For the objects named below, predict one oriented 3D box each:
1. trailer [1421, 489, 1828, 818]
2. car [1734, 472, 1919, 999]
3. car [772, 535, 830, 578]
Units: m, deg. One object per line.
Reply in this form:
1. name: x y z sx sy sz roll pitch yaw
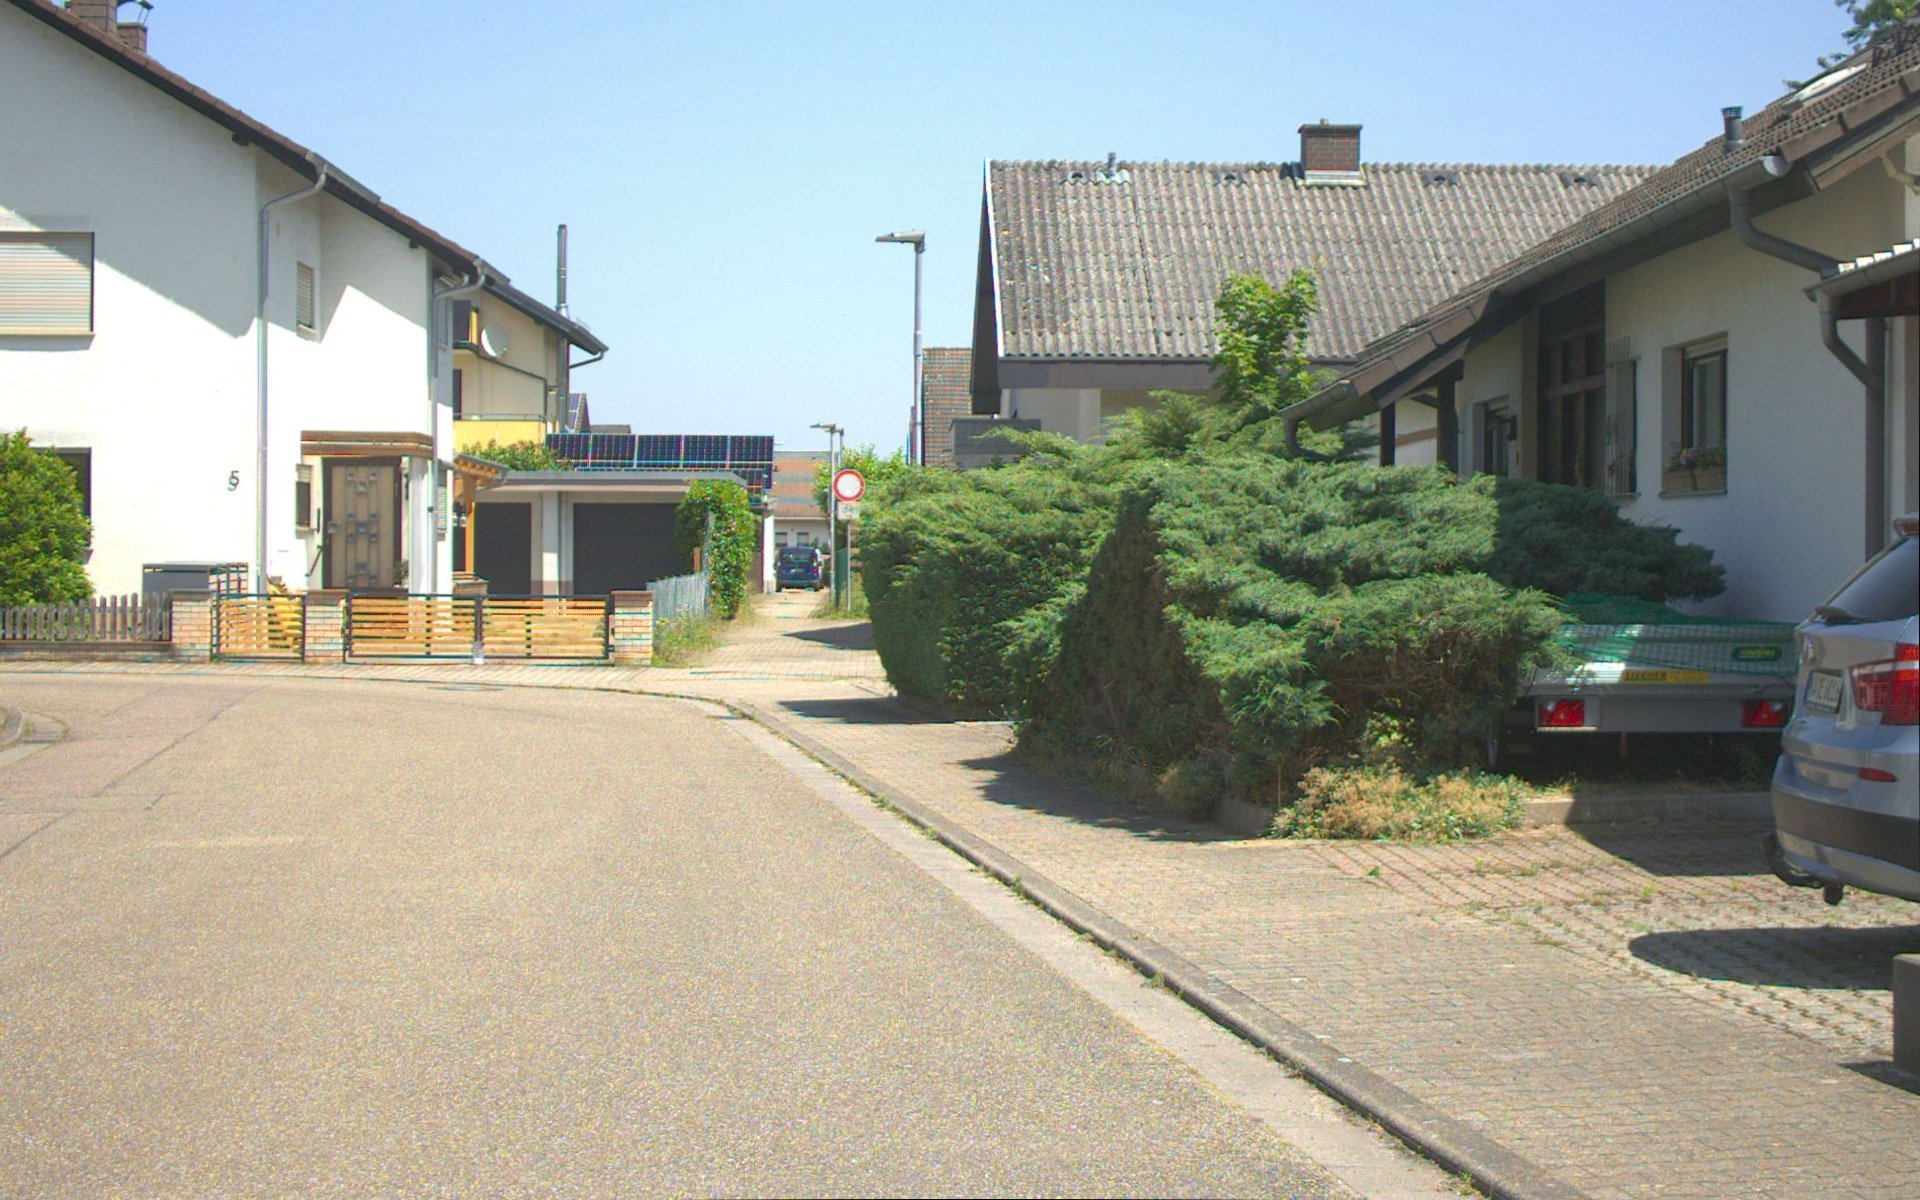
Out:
1. trailer: 3.657 0.233 19.418 1.587 1.666 3.297 -1 2 -1
2. car: 5.182 0.377 11.861 4.627 1.696 1.709 -1 1 2
3. car: -6.343 -1.729 137.366 2.193 1.695 3.807 0 1 -1
